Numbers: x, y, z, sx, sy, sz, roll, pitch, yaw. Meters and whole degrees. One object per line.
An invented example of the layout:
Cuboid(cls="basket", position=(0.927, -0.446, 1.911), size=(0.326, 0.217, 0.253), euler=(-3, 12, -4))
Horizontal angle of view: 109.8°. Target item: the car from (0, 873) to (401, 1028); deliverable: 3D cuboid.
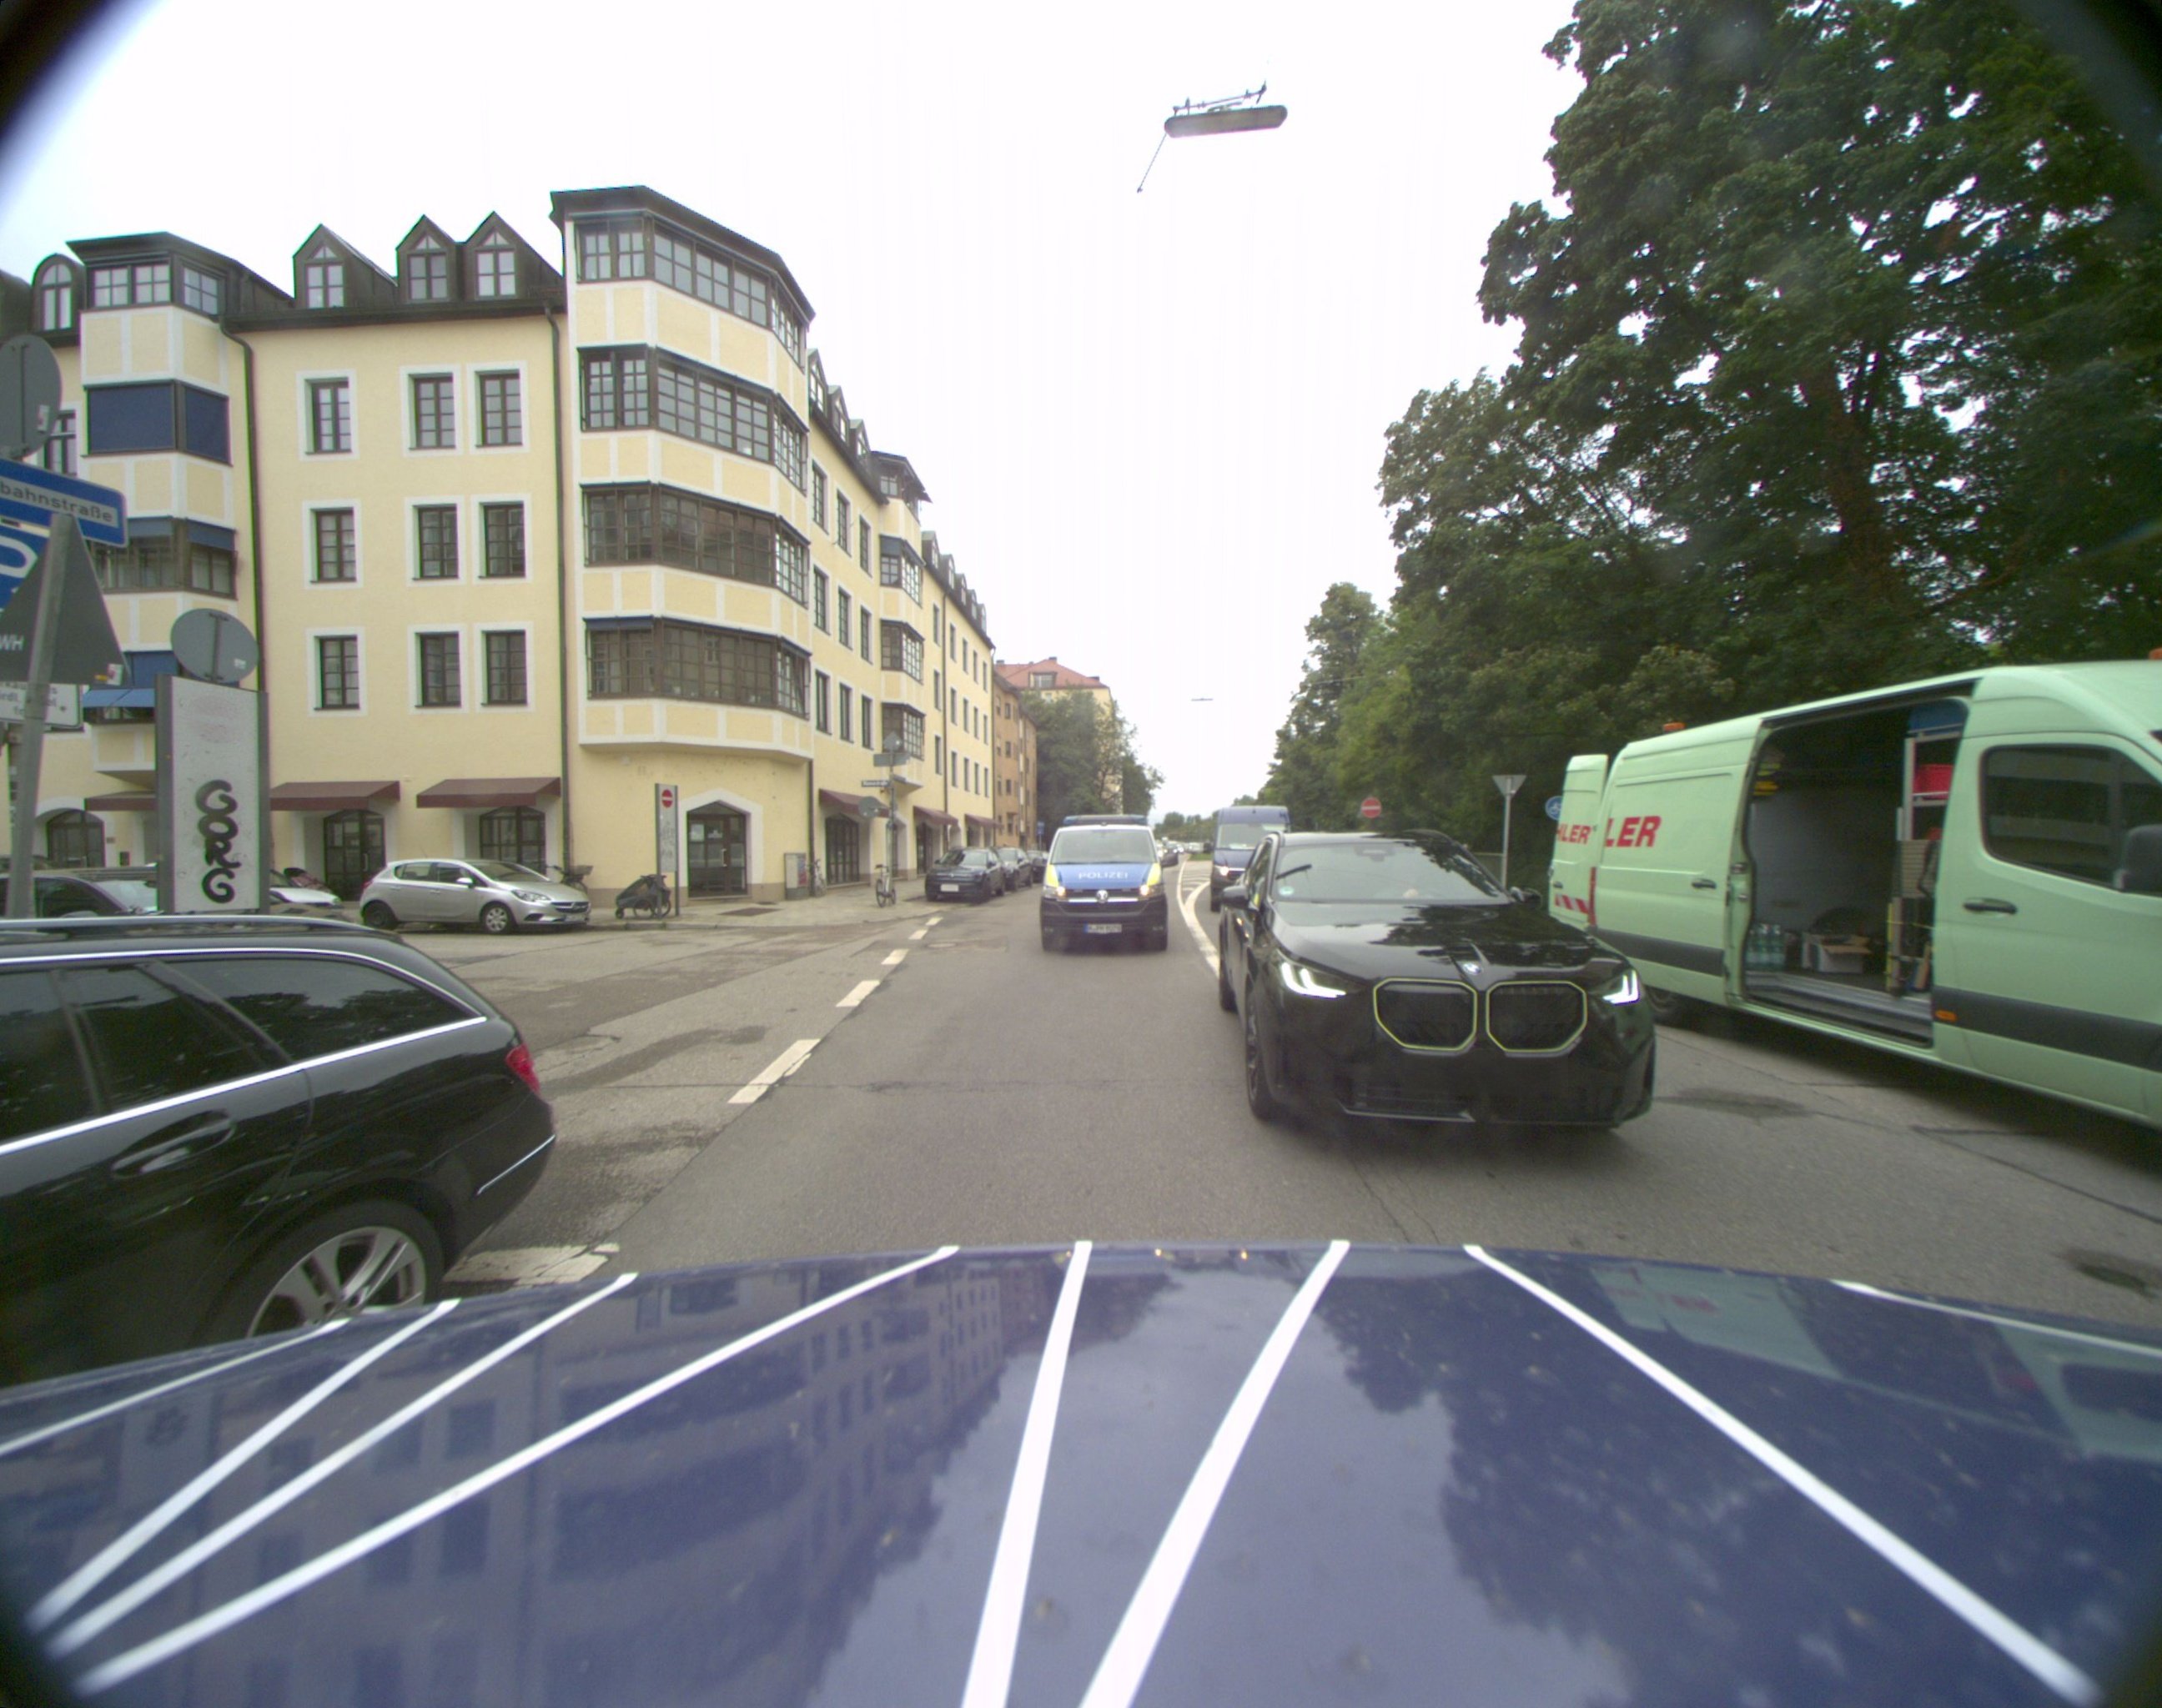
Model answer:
Cuboid(cls="car", position=(-10.569, 1.013, 8.718), size=(3.881, 1.479, 1.892), euler=(-1, 2, 4))

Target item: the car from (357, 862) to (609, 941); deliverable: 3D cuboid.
Cuboid(cls="car", position=(-11.622, 0.889, 14.899), size=(3.741, 1.431, 1.753), euler=(0, -1, 7))

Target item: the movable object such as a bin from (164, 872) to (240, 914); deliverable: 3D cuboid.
Cuboid(cls="movable object such as a bin", position=(-22.117, 0.968, 19.134), size=(1.125, 1.008, 0.684), euler=(0, 2, 4))

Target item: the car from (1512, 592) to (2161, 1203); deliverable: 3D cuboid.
Cuboid(cls="car", position=(5.719, 0.142, 5.113), size=(2.146, 2.557, 6.795), euler=(-1, 1, 4))

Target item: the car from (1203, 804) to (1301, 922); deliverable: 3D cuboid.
Cuboid(cls="car", position=(4.387, 0.095, 19.152), size=(2.003, 2.477, 6.237), euler=(-1, 2, 14))

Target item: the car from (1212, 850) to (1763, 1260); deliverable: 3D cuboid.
Cuboid(cls="car", position=(2.008, 0.807, 5.288), size=(1.920, 1.557, 4.295), euler=(0, 2, 7))

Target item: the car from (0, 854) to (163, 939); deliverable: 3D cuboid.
Cuboid(cls="car", position=(-22.144, 0.843, 15.767), size=(4.024, 1.575, 1.985), euler=(-1, 2, 6))

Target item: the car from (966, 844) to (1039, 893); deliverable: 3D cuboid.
Cuboid(cls="car", position=(-2.949, 0.490, 29.476), size=(1.816, 1.580, 4.165), euler=(4, 2, 7))

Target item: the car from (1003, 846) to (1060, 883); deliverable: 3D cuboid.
Cuboid(cls="car", position=(-2.182, 0.444, 34.548), size=(1.763, 1.514, 3.934), euler=(1, 1, 9))

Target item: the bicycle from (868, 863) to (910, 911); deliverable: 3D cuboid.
Cuboid(cls="bicycle", position=(-5.112, 0.844, 20.303), size=(0.430, 1.152, 2.053), euler=(0, 2, 5))

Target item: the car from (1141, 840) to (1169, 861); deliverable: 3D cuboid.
Cuboid(cls="car", position=(6.006, -0.318, 61.523), size=(1.997, 1.587, 4.002), euler=(1, 1, 10))

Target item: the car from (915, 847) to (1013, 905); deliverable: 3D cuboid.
Cuboid(cls="car", position=(-3.598, 0.627, 24.268), size=(2.111, 1.613, 4.497), euler=(-1, 1, 4))

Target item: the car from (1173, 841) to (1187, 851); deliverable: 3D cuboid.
Cuboid(cls="car", position=(14.567, -1.225, 111.810), size=(1.836, 1.390, 4.002), euler=(1, 1, 9))

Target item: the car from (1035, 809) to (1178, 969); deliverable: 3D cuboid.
Cuboid(cls="car", position=(0.625, 0.435, 12.934), size=(1.826, 2.087, 5.634), euler=(-2, 1, 6))

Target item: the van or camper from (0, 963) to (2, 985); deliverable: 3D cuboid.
Cuboid(cls="van or camper", position=(-16.332, 0.797, 8.881), size=(4.910, 1.909, 1.961), euler=(-1, 3, 5))

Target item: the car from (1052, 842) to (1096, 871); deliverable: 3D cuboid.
Cuboid(cls="car", position=(-0.344, 0.094, 47.310), size=(1.882, 1.642, 5.619), euler=(1, 1, 8))

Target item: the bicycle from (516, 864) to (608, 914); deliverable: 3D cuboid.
Cuboid(cls="bicycle", position=(-12.521, 0.834, 18.355), size=(1.904, 1.180, 0.515), euler=(0, 1, 4))

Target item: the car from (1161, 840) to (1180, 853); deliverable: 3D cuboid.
Cuboid(cls="car", position=(9.996, -0.858, 84.755), size=(1.836, 1.390, 4.002), euler=(1, 1, 9))

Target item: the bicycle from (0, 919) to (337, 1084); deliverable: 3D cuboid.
Cuboid(cls="bicycle", position=(-7.341, 1.118, 6.270), size=(0.496, 0.999, 1.804), euler=(1, 0, 6))

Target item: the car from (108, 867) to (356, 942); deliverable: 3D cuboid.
Cuboid(cls="car", position=(-17.135, 0.981, 15.420), size=(3.451, 1.330, 1.639), euler=(0, 2, 7))

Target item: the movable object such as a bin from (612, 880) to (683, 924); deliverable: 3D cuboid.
Cuboid(cls="movable object such as a bin", position=(-9.394, 1.041, 16.502), size=(1.125, 0.895, 0.684), euler=(0, 2, 4))

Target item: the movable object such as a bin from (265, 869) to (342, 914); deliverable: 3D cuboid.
Cuboid(cls="movable object such as a bin", position=(-19.359, 0.926, 18.944), size=(1.125, 1.075, 0.767), euler=(0, 2, 4))

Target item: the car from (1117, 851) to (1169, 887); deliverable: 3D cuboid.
Cuboid(cls="car", position=(2.463, 0.535, 29.516), size=(1.494, 1.207, 3.614), euler=(-1, 1, 12))

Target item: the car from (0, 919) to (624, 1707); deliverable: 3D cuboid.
Cuboid(cls="car", position=(-3.004, 1.028, 0.846), size=(1.851, 1.397, 4.788), euler=(-1, 1, 3))

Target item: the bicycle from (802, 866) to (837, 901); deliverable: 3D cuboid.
Cuboid(cls="bicycle", position=(-7.746, 0.858, 22.590), size=(0.262, 0.897, 1.695), euler=(4, 2, 6))
